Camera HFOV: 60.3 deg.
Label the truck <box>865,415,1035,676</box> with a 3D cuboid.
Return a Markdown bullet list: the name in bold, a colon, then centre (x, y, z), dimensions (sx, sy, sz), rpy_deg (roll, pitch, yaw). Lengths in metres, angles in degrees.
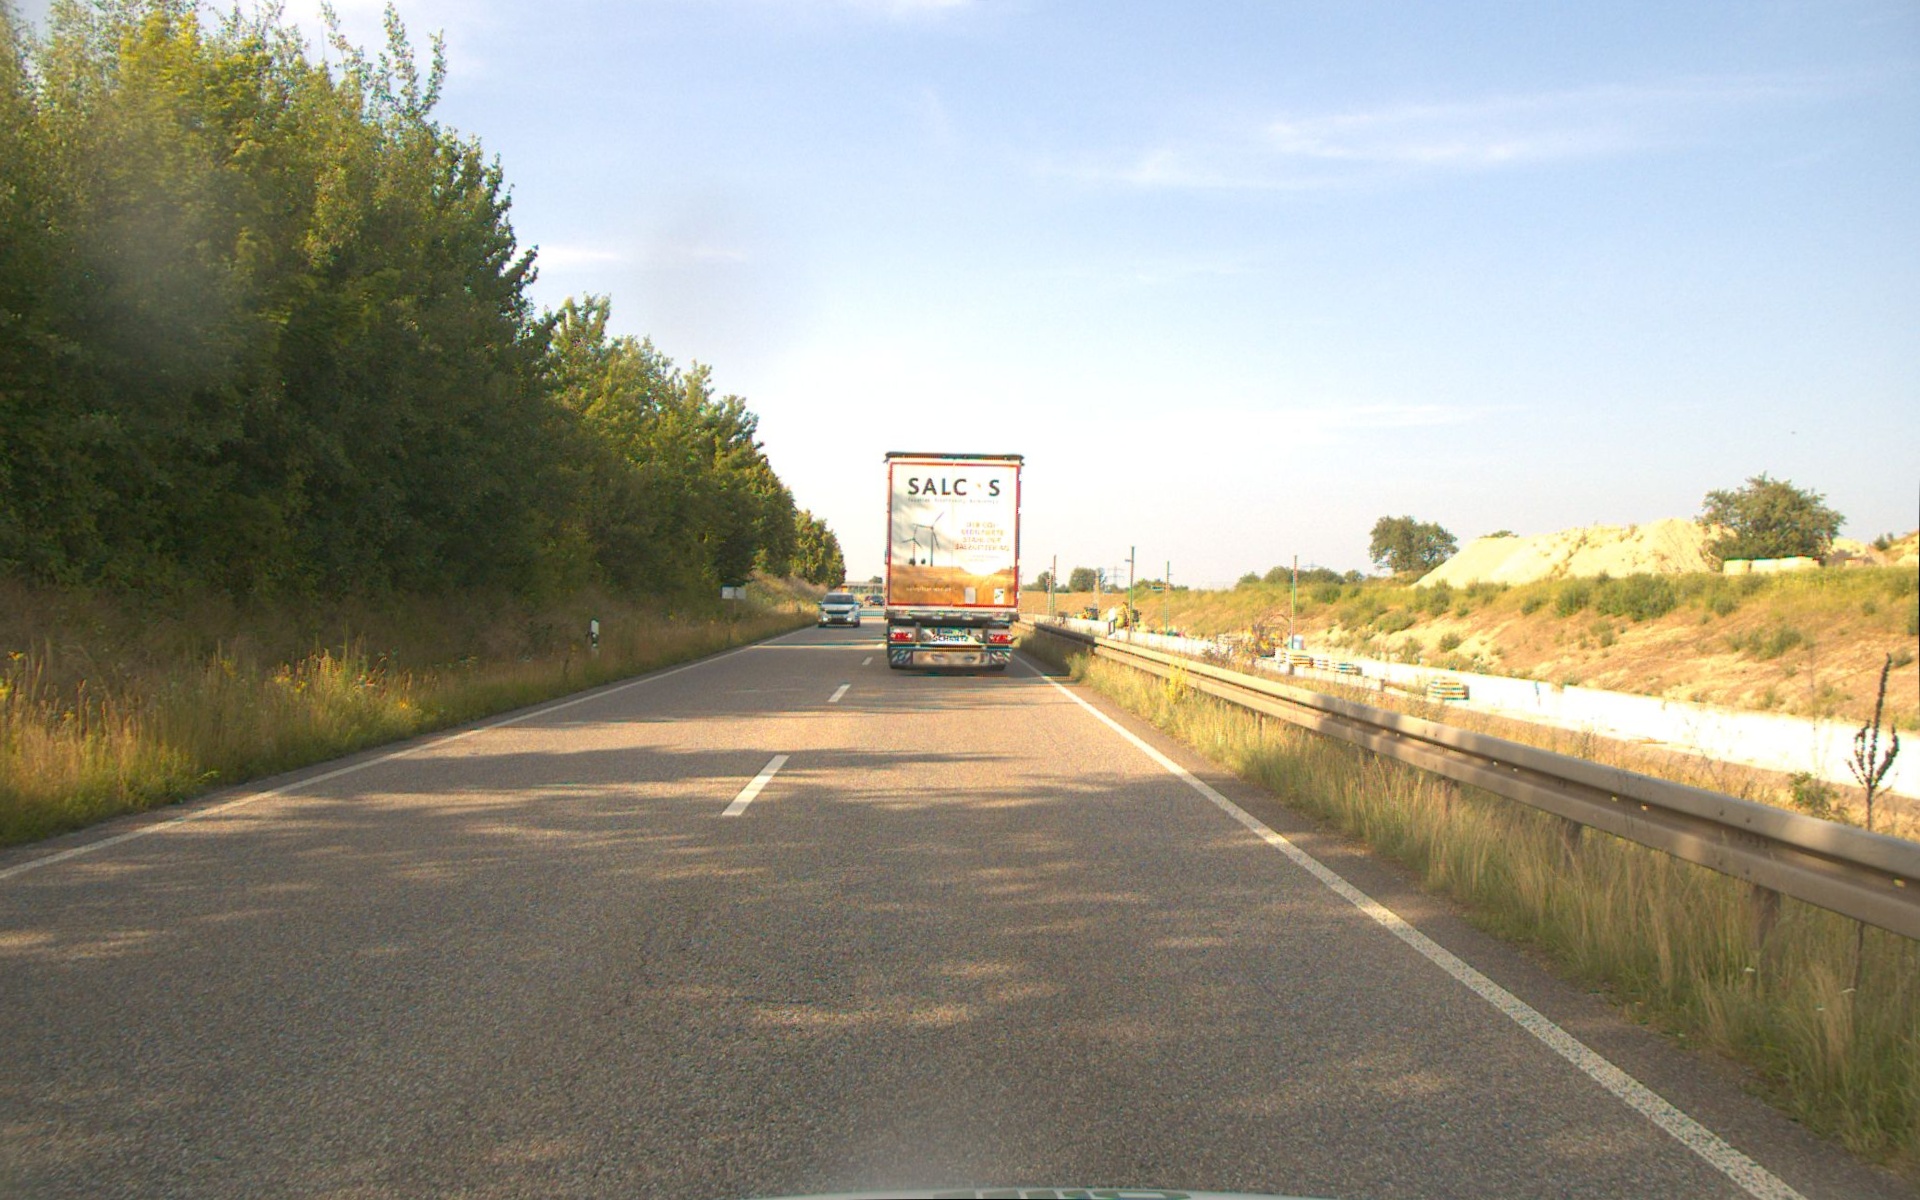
- **truck**: centre (-0.312, -1.010, 34.708), dimensions (3.089, 4.770, 8.438), rpy_deg (1, 0, -2)

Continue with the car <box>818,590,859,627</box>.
- **car**: centre (-5.464, 0.366, 74.851), dimensions (1.710, 1.591, 4.363), rpy_deg (1, 0, -3)

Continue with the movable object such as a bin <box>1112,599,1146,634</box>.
- **movable object such as a bin**: centre (19.418, 1.870, 190.315), dimensions (2.741, 3.954, 7.533), rpy_deg (1, 0, -3)

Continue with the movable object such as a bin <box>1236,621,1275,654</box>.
- **movable object such as a bin**: centre (25.614, 3.223, 143.323), dimensions (2.845, 2.708, 2.019), rpy_deg (1, 0, 23)
